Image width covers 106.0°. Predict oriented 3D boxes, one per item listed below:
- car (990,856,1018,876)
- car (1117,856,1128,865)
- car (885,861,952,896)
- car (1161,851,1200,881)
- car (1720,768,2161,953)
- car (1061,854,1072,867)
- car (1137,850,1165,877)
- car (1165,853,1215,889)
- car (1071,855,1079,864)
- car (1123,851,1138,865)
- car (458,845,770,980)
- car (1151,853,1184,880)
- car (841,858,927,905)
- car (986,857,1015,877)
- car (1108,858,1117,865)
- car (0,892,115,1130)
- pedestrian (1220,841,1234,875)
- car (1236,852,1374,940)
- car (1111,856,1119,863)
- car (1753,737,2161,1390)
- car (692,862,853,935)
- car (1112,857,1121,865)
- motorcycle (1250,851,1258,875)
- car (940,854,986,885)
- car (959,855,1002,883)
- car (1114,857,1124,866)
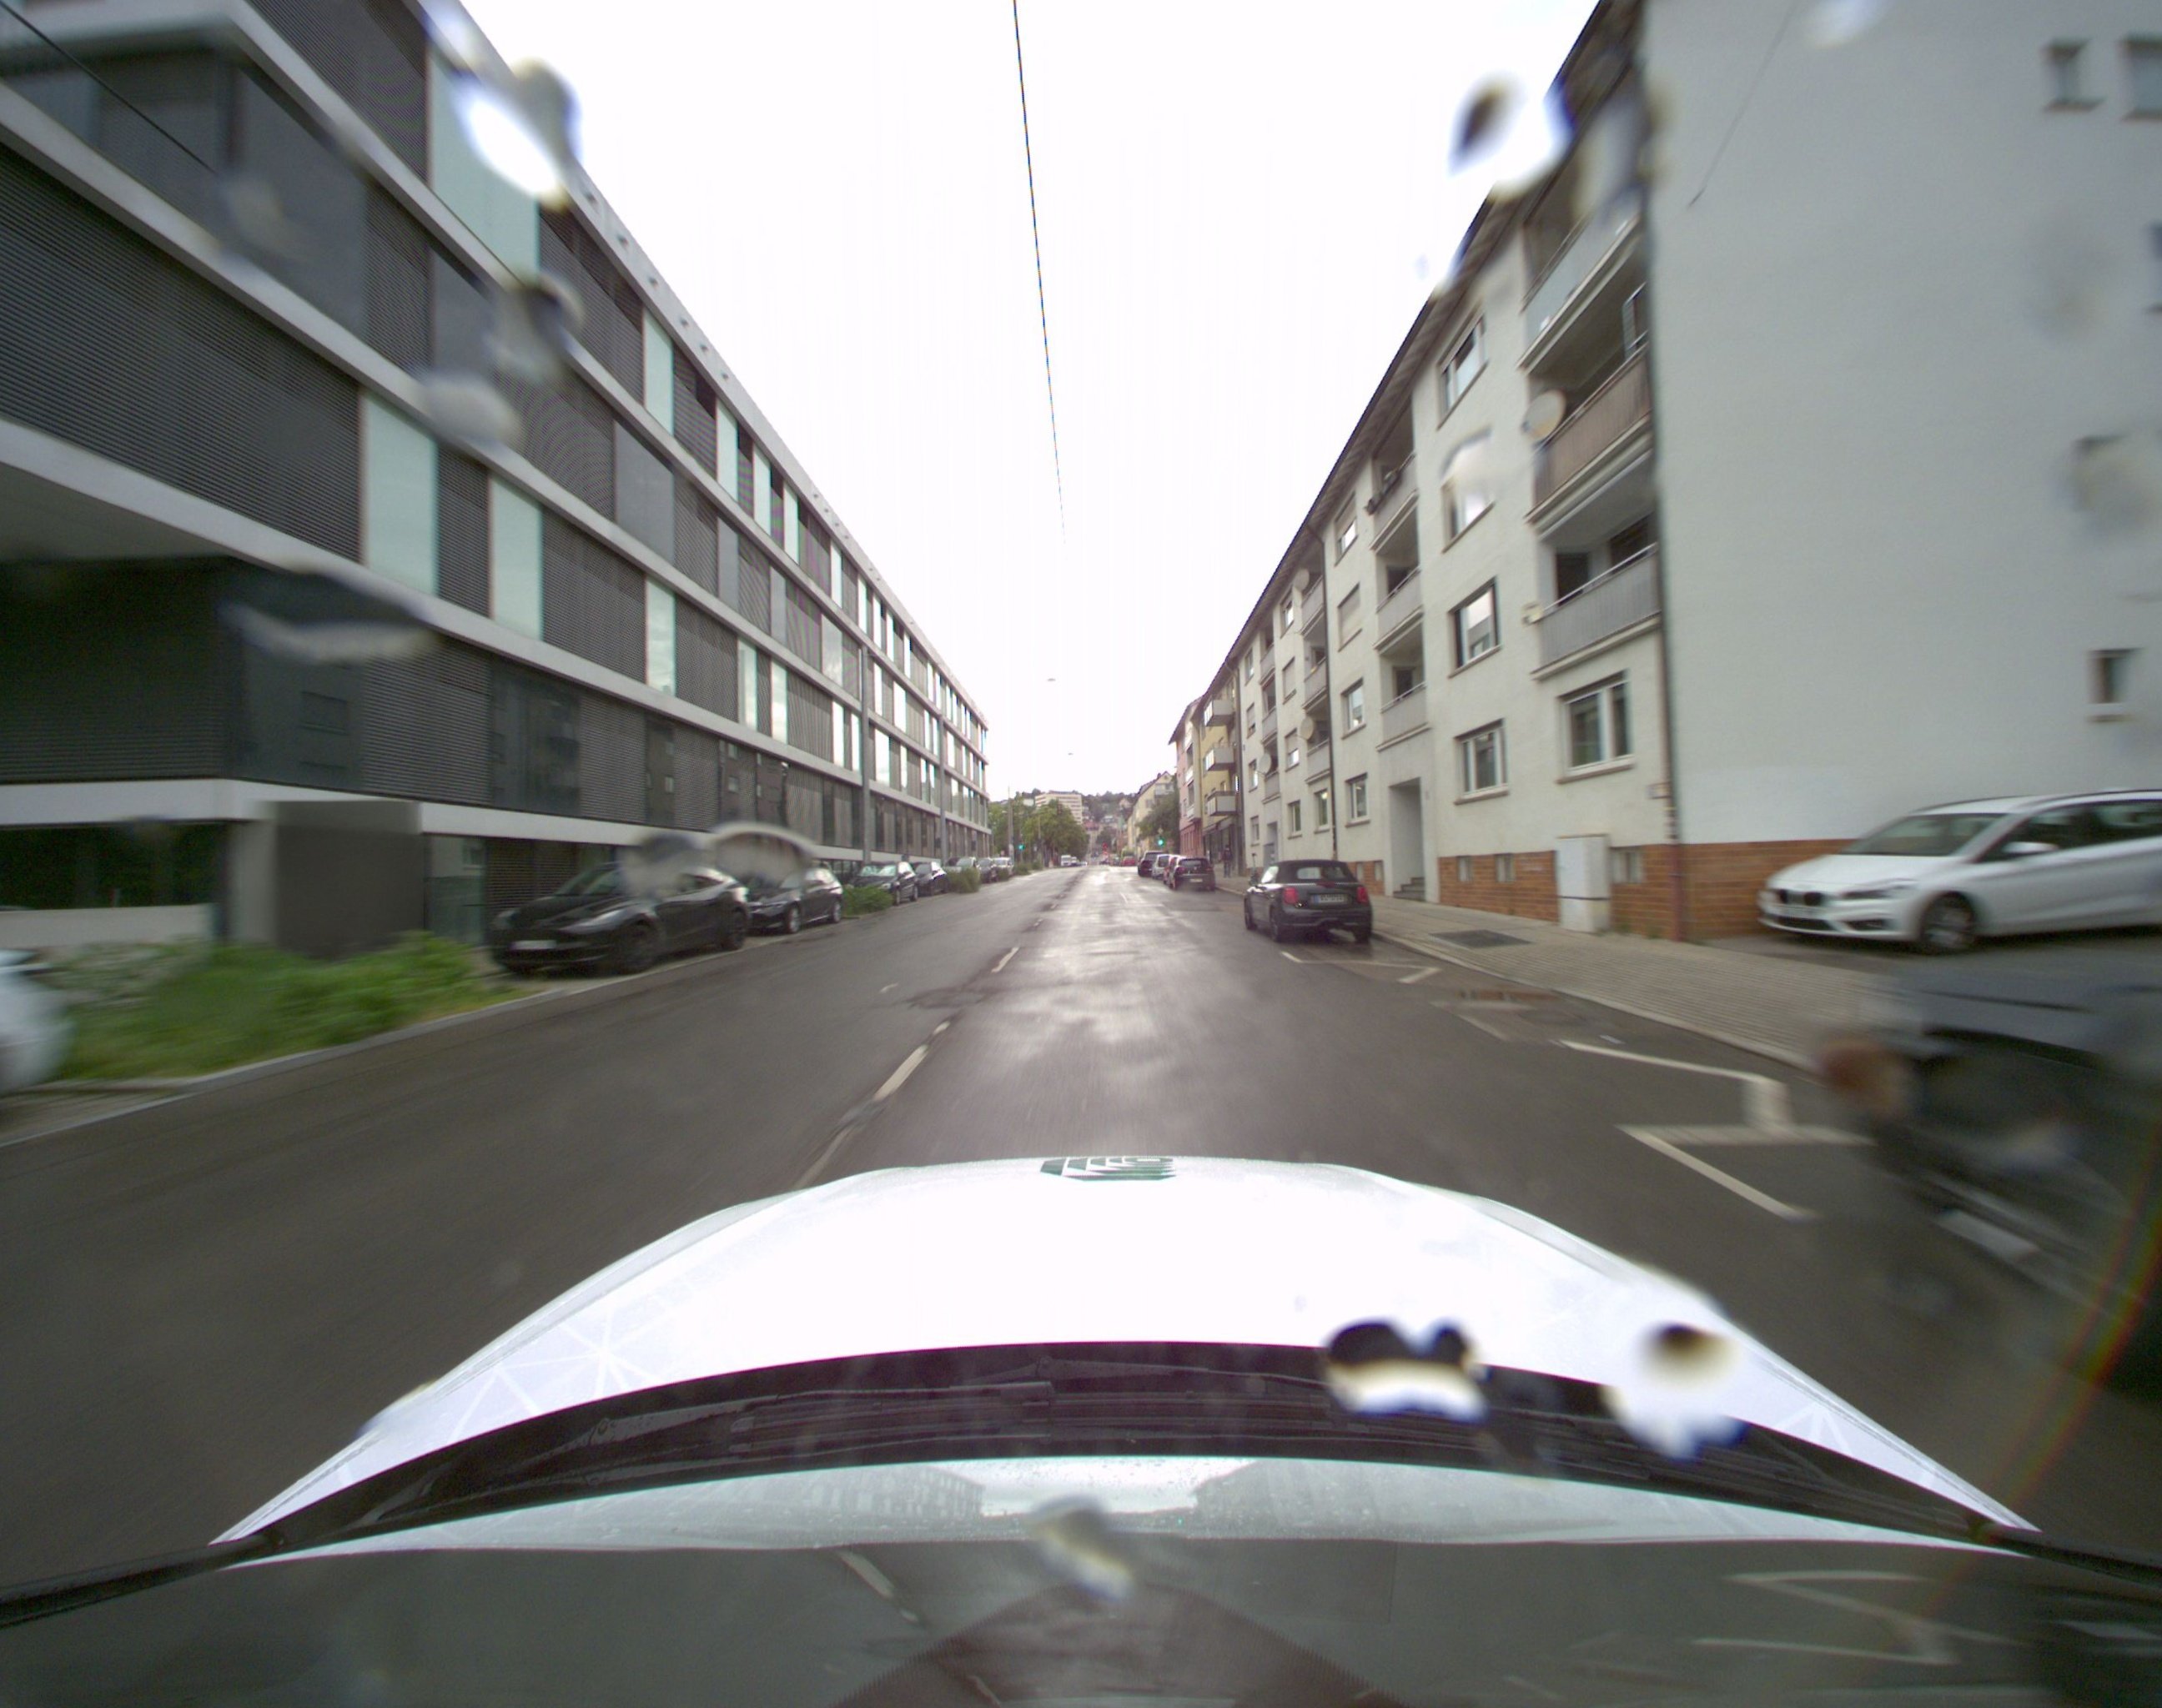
[{"bbox_3d":[-6.280,0.974,66.790,1.861,1.525,4.195,-1,0,-1],"label":"car"},{"bbox_3d":[7.324,1.104,142.927,1.858,1.604,4.194,-1,-1,4],"label":"car"},{"bbox_3d":[-6.869,1.001,34.859,1.831,1.396,4.393,-1,-1,1],"label":"car"},{"bbox_3d":[4.950,0.599,40.771,1.577,1.413,3.654,-1,-1,1],"label":"car"},{"bbox_3d":[10.551,0.034,9.610,4.423,1.712,1.905,-5,-1,0],"label":"car"},{"bbox_3d":[-2.841,1.257,163.340,2.099,2.546,4.748,-1,-1,-1],"label":"car"},{"bbox_3d":[4.791,0.610,56.094,1.649,1.738,4.180,-1,0,1],"label":"car"},{"bbox_3d":[4.692,0.702,35.397,1.700,1.454,3.985,-1,-1,1],"label":"car"},{"bbox_3d":[-1.593,1.455,202.199,1.862,2.141,4.354,-1,-1,-2],"label":"car"},{"bbox_3d":[6.512,0.585,107.594,1.858,1.770,4.194,-1,-1,4],"label":"car"},{"bbox_3d":[-7.123,0.794,13.215,1.954,1.750,4.946,-1,-1,4],"label":"car"},{"bbox_3d":[5.187,0.763,49.305,1.629,1.571,3.711,-1,-1,1],"label":"car"},{"bbox_3d":[-6.781,0.902,28.512,1.856,1.489,4.348,-1,-1,1],"label":"car"},{"bbox_3d":[-6.044,0.944,61.462,1.589,1.459,3.721,-1,0,3],"label":"car"},{"bbox_3d":[7.250,1.751,185.824,1.858,1.604,4.194,-1,-1,4],"label":"car"},{"bbox_3d":[-7.491,0.957,3.303,1.814,1.419,4.403,-1,-1,1],"label":"car"},{"bbox_3d":[8.033,0.216,44.831,0.636,1.870,0.539,-1,-1,3],"label":"pedestrian"},{"bbox_3d":[4.189,0.710,15.805,1.667,1.459,3.765,-1,0,1],"label":"car"},{"bbox_3d":[8.219,1.263,196.678,1.858,1.604,4.194,-1,-1,4],"label":"car"},{"bbox_3d":[3.830,0.537,1.104,1.929,1.750,4.797,-1,-1,1],"label":"car"},{"bbox_3d":[-7.030,0.944,19.164,1.864,1.473,4.742,-1,-1,1],"label":"car"},{"bbox_3d":[7.714,1.494,177.649,1.858,1.604,4.194,-1,-1,4],"label":"car"},{"bbox_3d":[8.246,0.427,38.735,0.251,1.165,0.781,-1,-1,4],"label":"motorcycle"},{"bbox_3d":[-6.402,0.812,44.460,1.765,1.534,4.317,-1,0,1],"label":"car"},{"bbox_3d":[-6.180,0.936,50.542,1.793,1.604,4.238,-1,-1,4],"label":"car"},{"bbox_3d":[7.666,1.524,162.283,1.858,1.604,4.194,-1,-1,4],"label":"car"}]
